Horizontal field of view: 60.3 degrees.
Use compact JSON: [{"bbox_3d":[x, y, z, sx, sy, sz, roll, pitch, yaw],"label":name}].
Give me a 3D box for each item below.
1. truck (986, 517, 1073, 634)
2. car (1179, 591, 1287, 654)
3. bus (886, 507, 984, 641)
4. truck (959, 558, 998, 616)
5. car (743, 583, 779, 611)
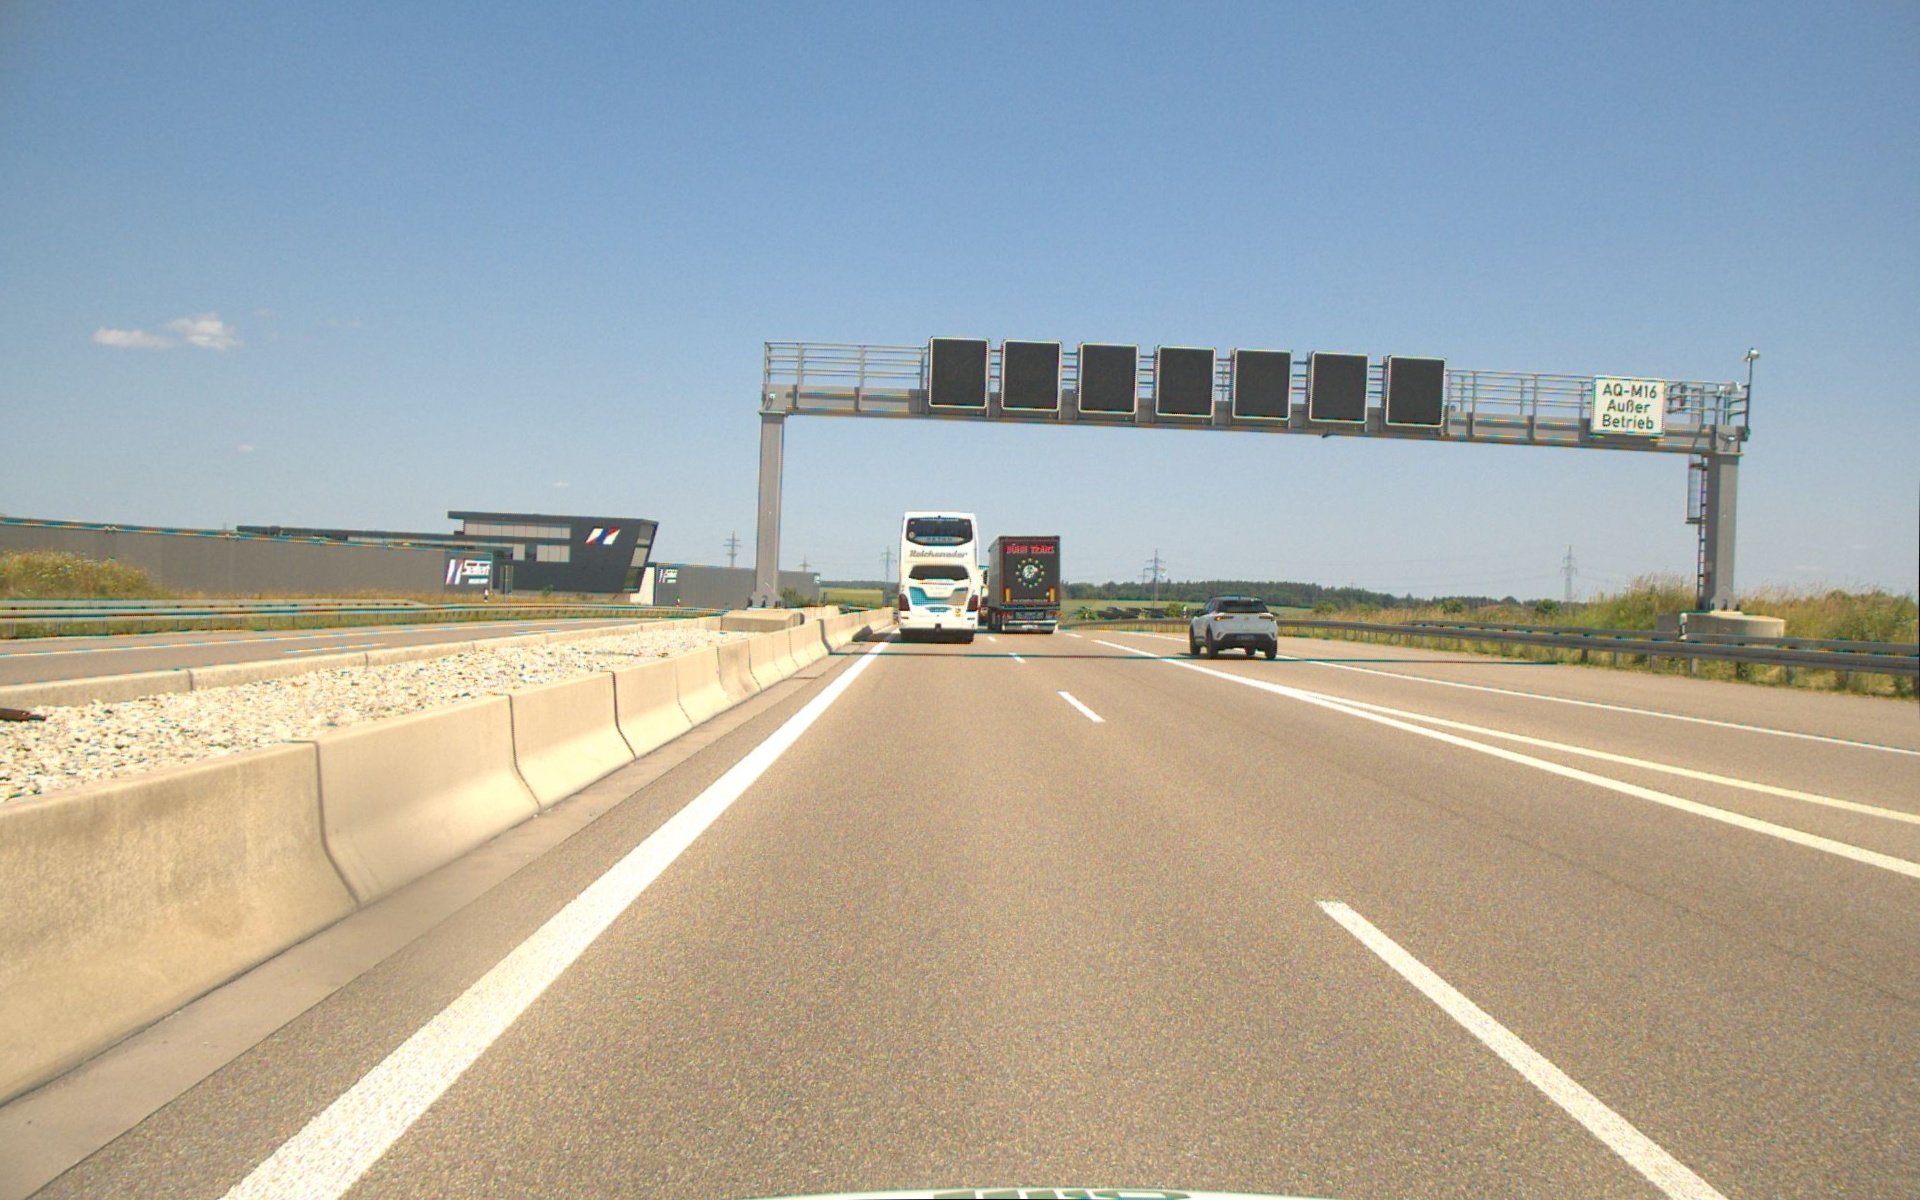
[{"bbox_3d":[2.929,-0.857,73.936,3.310,4.542,13.566,2,-2,1],"label":"truck"},{"bbox_3d":[7.159,0.552,43.717,1.854,1.556,4.258,1,0,-4],"label":"car"},{"bbox_3d":[-0.962,-0.890,55.465,2.921,4.044,9.100,1,1,-3],"label":"bus"},{"bbox_3d":[1.227,-0.929,114.354,2.388,3.855,6.491,1,0,-2],"label":"truck"},{"bbox_3d":[-15.058,-0.260,125.395,2.104,2.049,5.381,1,0,0],"label":"car"}]
